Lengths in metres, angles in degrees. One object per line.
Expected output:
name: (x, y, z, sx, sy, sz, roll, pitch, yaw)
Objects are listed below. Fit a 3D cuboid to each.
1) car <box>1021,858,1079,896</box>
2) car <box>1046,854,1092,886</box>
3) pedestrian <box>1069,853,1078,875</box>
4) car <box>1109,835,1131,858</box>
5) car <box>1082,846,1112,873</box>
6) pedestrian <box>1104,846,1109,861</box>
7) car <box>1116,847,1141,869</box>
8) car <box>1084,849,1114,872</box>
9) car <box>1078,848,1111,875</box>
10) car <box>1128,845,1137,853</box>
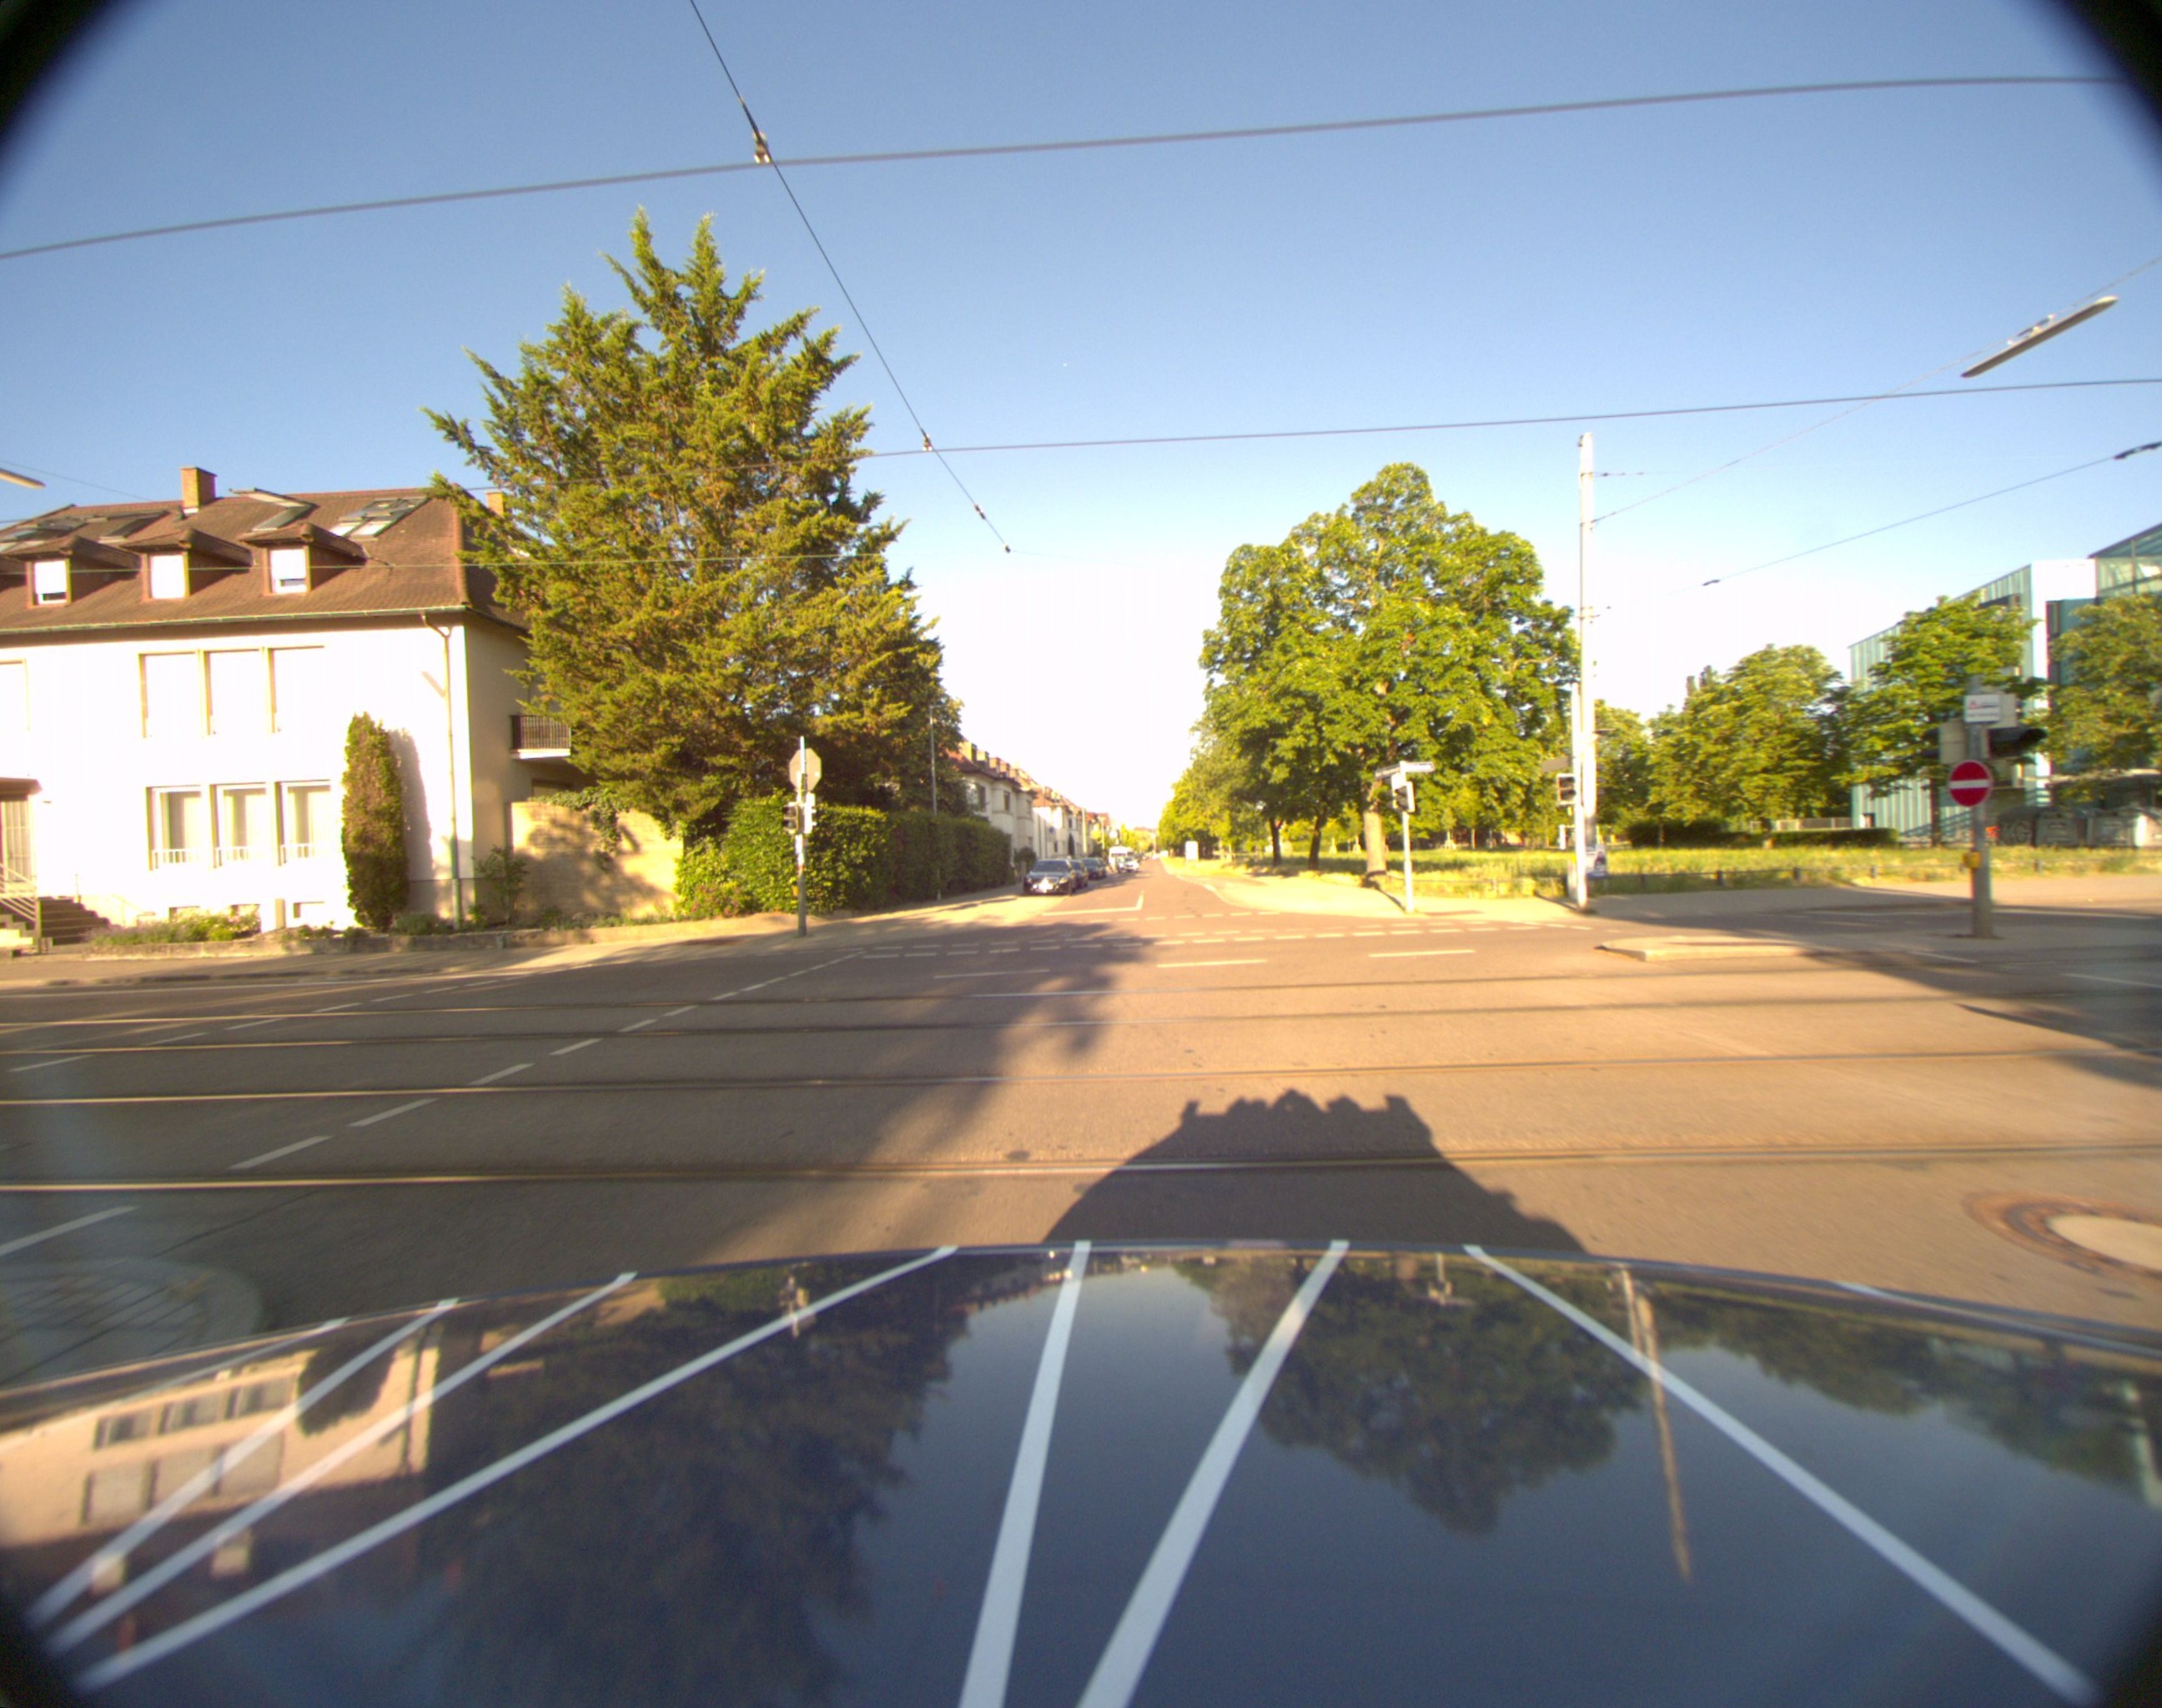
car: (-1.242, 0.918, 32.477, 2.008, 1.490, 4.917, 0, 0, 3)
car: (-0.543, 0.791, 38.512, 1.783, 1.469, 4.002, -4, -1, 5)
pedestrian: (-0.661, 0.844, 66.531, 0.587, 1.835, 0.824, -4, 1, 7)
car: (4.520, -0.850, 87.943, 2.131, 2.461, 5.726, -4, 0, 5)
car: (1.193, 0.390, 54.616, 1.998, 1.751, 4.000, -4, 0, 3)
pedestrian: (3.142, -0.039, 94.567, 0.531, 1.787, 0.589, -4, 0, 4)
car: (4.399, 0.356, 69.604, 1.998, 1.775, 4.001, -4, 0, 5)
car: (1.345, 0.455, 55.737, 1.679, 1.525, 3.474, -4, -1, 7)
car: (0.920, 0.510, 50.309, 1.795, 1.586, 4.079, -4, -1, 5)
car: (9.782, -0.956, 144.364, 1.681, 1.543, 3.844, -1, 0, 4)
